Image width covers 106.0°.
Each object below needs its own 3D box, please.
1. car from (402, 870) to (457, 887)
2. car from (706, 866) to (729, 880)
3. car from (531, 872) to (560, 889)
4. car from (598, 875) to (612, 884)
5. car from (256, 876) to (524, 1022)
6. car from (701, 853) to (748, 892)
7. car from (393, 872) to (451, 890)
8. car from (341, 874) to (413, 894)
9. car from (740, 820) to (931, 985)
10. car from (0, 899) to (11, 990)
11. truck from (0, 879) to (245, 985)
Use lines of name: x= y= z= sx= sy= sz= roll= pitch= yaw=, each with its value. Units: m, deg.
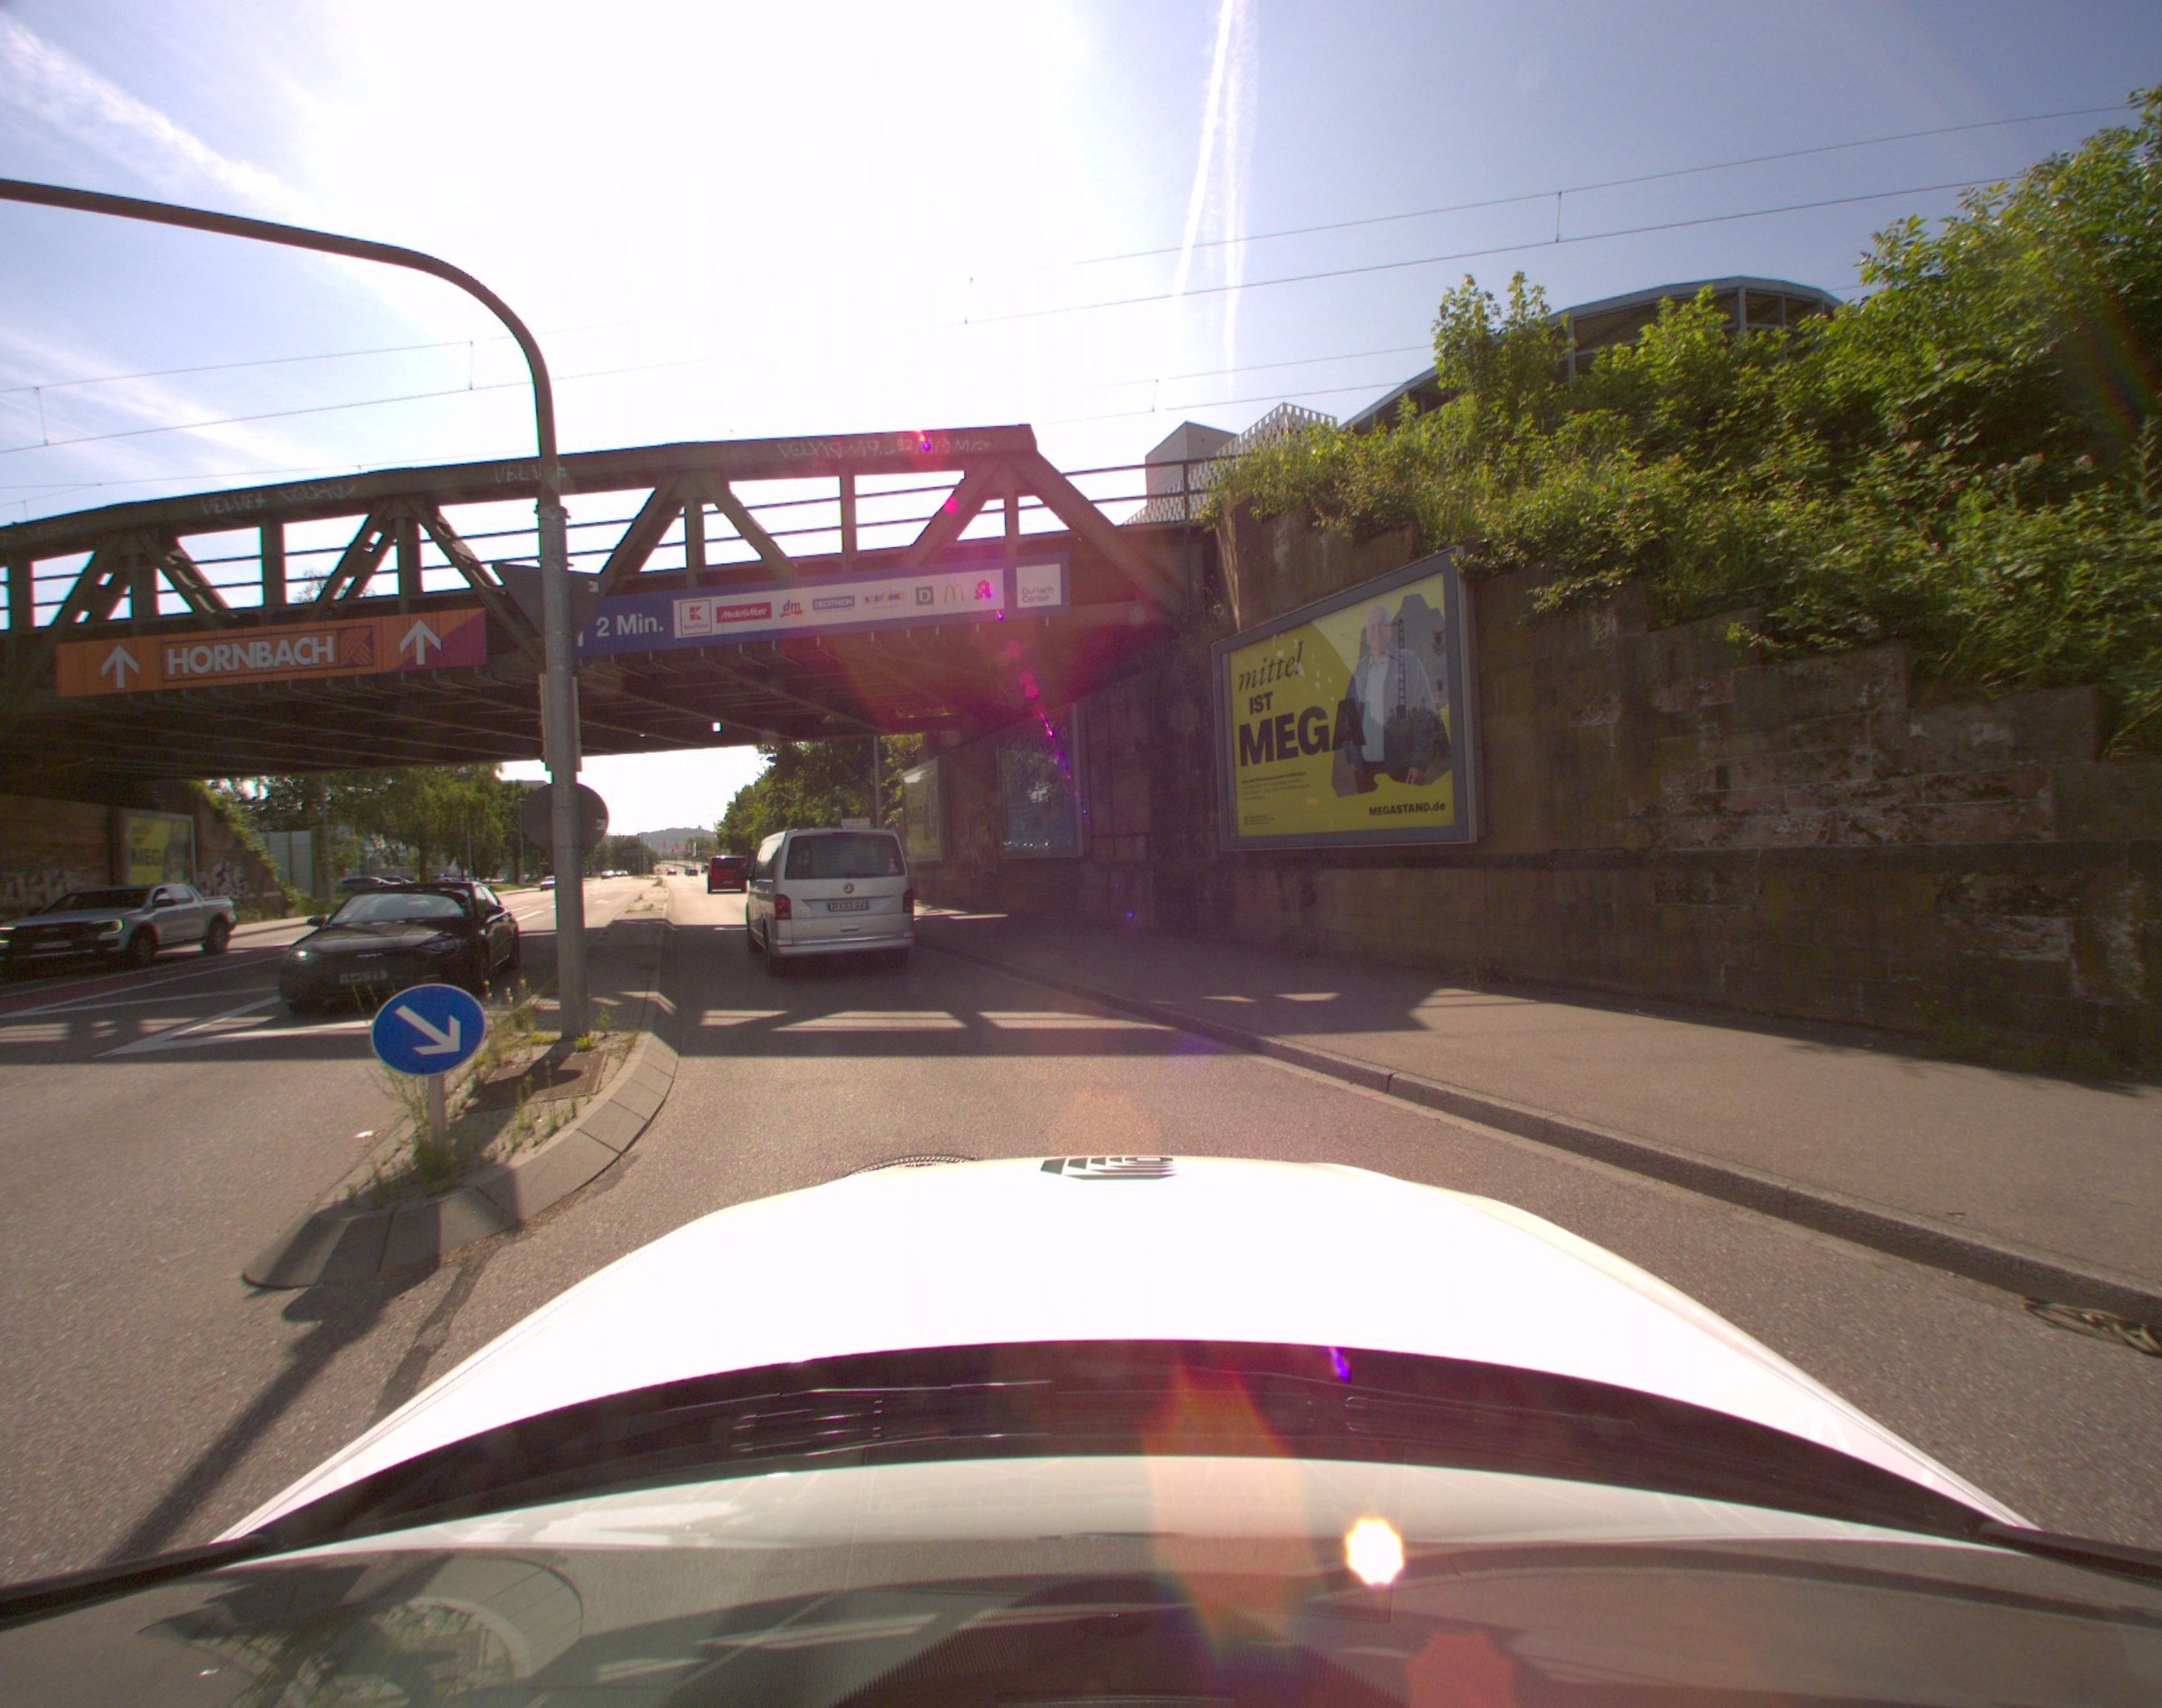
car: x=-67.688 y=2.561 z=84.659 sx=4.269 sy=1.547 sz=1.847 roll=-3 pitch=0 yaw=-34
car: x=-37.823 y=1.975 z=84.716 sx=1.797 sy=1.397 sz=4.285 roll=-2 pitch=0 yaw=-28
car: x=-51.950 y=2.593 z=79.054 sx=1.981 sy=1.492 sz=4.043 roll=-3 pitch=0 yaw=-30
car: x=-87.196 y=4.698 z=149.209 sx=1.981 sy=1.492 sz=4.043 roll=-3 pitch=0 yaw=-30
car: x=-8.752 y=1.044 z=10.771 sx=1.776 sy=1.395 sz=4.295 roll=-3 pitch=0 yaw=-28
car: x=-19.523 y=0.994 z=44.510 sx=1.980 sy=1.924 sz=4.518 roll=-2 pitch=0 yaw=-28
car: x=-65.742 y=2.629 z=81.331 sx=4.269 sy=1.547 sz=1.847 roll=-3 pitch=0 yaw=-34
car: x=-58.510 y=2.476 z=67.807 sx=4.269 sy=1.344 sz=1.979 roll=-3 pitch=0 yaw=-34
car: x=-3.974 y=0.581 z=12.494 sx=1.952 sy=1.971 sz=4.978 roll=-1 pitch=0 yaw=-27
car: x=-17.566 y=1.519 z=11.216 sx=1.828 sy=1.480 sz=3.908 roll=-5 pitch=1 yaw=-27
truck: x=-21.539 y=1.596 z=18.385 sx=2.038 sy=1.819 sz=5.278 roll=-5 pitch=1 yaw=-27
